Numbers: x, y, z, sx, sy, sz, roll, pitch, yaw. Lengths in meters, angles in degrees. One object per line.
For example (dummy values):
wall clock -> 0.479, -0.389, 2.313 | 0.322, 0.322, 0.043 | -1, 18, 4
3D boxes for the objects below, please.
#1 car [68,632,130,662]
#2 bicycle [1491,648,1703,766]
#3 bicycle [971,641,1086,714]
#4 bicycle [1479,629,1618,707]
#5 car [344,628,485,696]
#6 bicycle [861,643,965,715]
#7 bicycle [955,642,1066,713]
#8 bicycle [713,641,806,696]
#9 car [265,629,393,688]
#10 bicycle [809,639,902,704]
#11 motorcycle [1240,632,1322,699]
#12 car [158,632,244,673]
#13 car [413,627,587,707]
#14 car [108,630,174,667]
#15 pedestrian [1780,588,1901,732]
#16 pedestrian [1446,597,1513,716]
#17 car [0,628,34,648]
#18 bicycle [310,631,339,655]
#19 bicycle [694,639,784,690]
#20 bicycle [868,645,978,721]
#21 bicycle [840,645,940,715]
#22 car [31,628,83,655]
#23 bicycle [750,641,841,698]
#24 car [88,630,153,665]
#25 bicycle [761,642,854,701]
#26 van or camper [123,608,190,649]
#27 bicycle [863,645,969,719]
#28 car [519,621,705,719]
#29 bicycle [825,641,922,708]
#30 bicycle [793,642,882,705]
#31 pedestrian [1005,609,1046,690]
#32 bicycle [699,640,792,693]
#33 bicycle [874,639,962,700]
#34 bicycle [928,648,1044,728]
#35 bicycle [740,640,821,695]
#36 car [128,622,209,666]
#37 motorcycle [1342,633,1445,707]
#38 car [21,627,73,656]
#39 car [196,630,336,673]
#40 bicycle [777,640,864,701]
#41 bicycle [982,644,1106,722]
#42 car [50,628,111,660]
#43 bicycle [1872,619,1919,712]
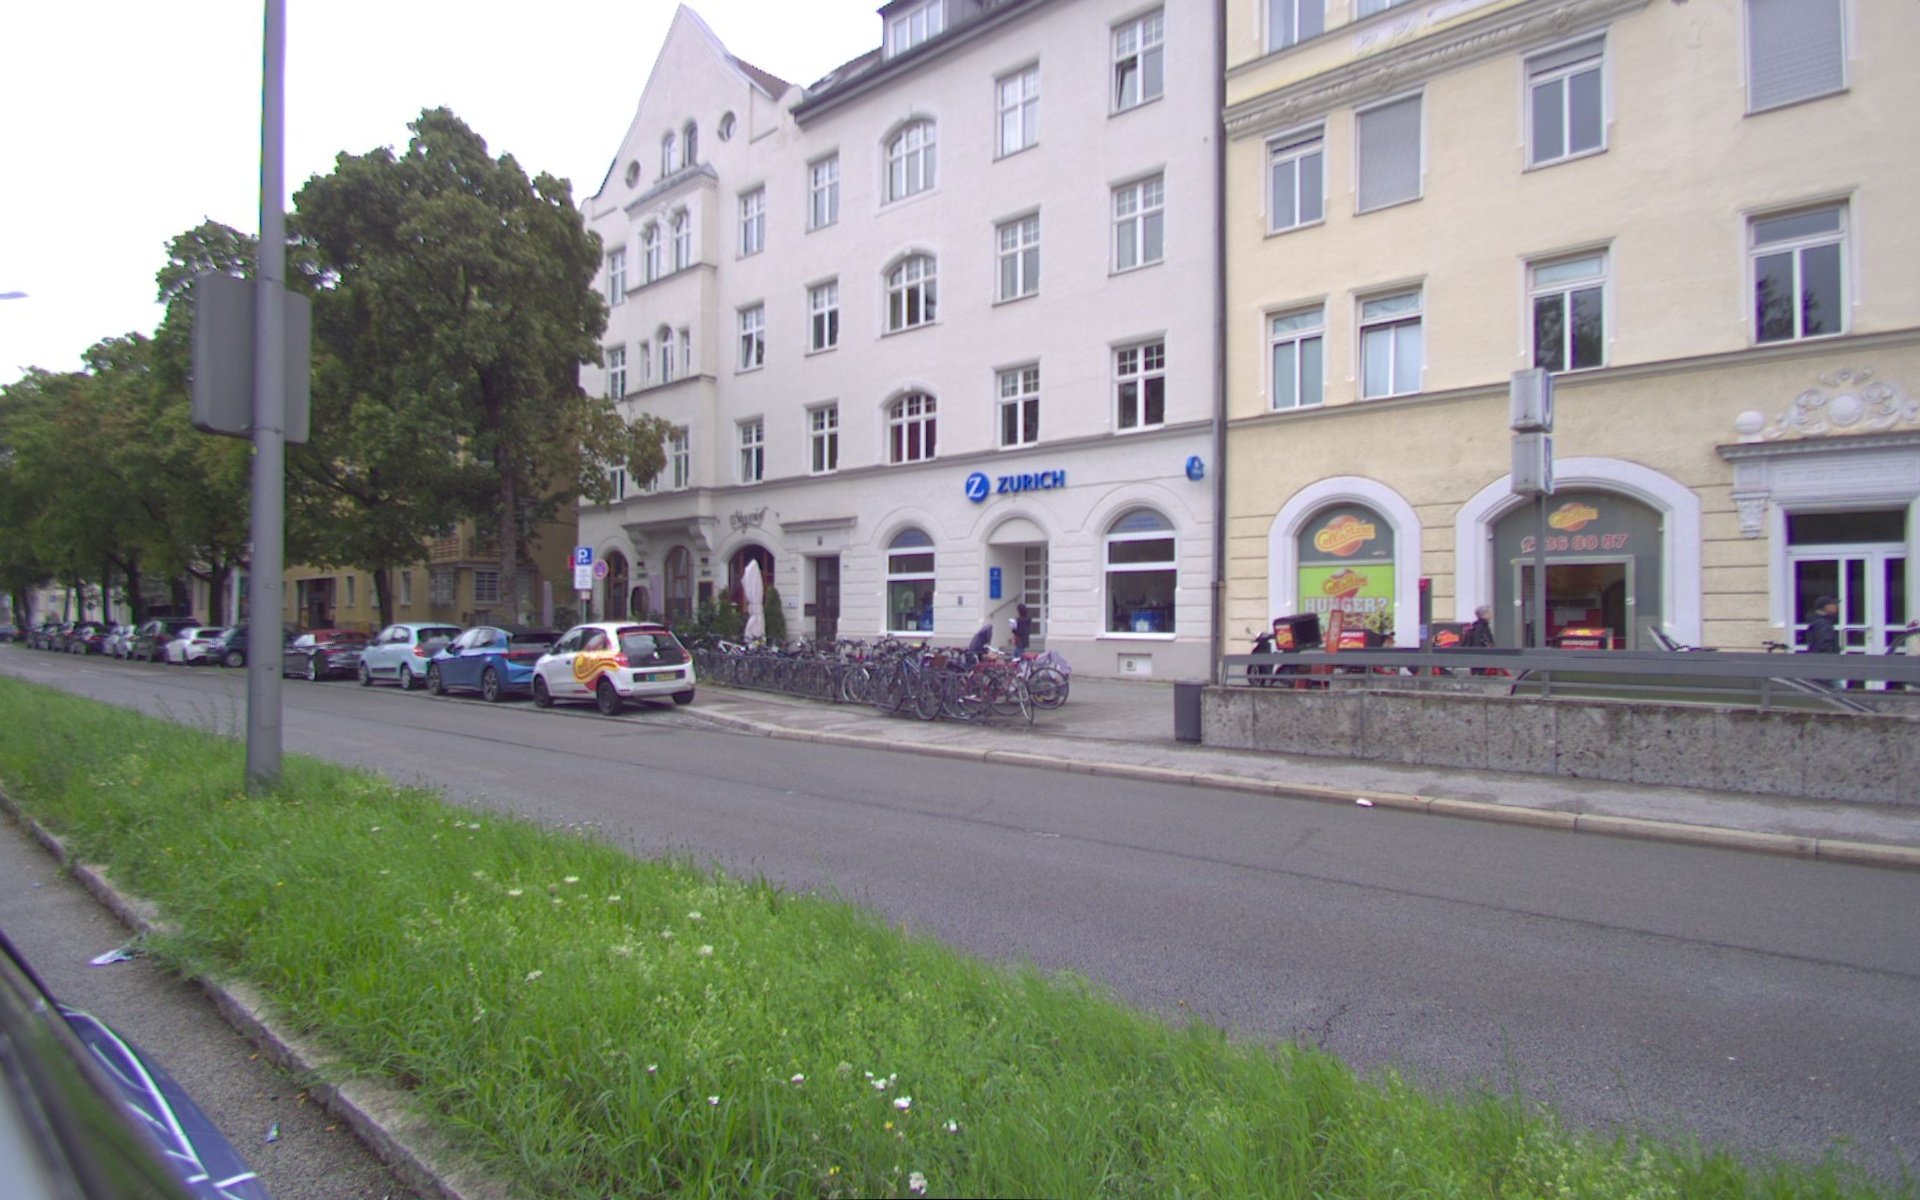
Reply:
car -> -43.071, 2.306, 50.599 | 4.361, 1.416, 1.709 | -1, -2, 41
bicycle -> 6.526, 1.065, 10.456 | 1.808, 1.124, 0.392 | -1, -2, 33
bicycle -> 1.087, 1.225, 16.140 | 1.799, 1.124, 0.394 | -1, -2, 18
bicycle -> 7.893, 0.887, 13.603 | 1.544, 0.988, 0.468 | -2, -2, 41
car -> -13.484, 1.457, 24.928 | 3.958, 1.518, 1.792 | -1, -2, 41
bicycle -> -0.761, 1.270, 16.392 | 1.667, 1.124, 0.365 | -1, -2, 18
bicycle -> 0.830, 1.259, 16.694 | 1.799, 1.124, 0.394 | -1, -2, 18
bicycle -> -4.253, 1.449, 21.491 | 1.860, 1.124, 0.548 | -1, -2, 10
car -> -17.824, 1.593, 28.519 | 4.643, 1.518, 1.792 | -1, -2, 41
bicycle -> -1.865, 1.265, 18.077 | 1.667, 1.124, 0.328 | -1, -2, 18
motorcycle -> 5.891, 1.175, 18.696 | 0.600, 1.139, 1.991 | 0, -1, -9
car -> -28.514, 1.922, 37.962 | 4.401, 1.413, 1.708 | -1, -2, 41
car -> -9.908, 1.350, 21.674 | 4.289, 1.518, 1.792 | -1, -2, 41
car -> -36.203, 2.114, 44.720 | 3.007, 1.569, 1.710 | -1, -2, 39
pedestrian -> 10.825, 0.724, 12.475 | 0.940, 1.710, 0.588 | -1, -2, 23
pedestrian -> 7.718, 0.822, 15.047 | 0.769, 1.710, 0.537 | -1, -2, 39
car -> -71.448, 2.828, 74.837 | 3.931, 1.386, 1.867 | -1, -2, -18
bicycle -> -33.195, 2.214, 52.871 | 1.929, 1.231, 0.762 | -1, -2, 41
bicycle -> -4.952, 1.435, 22.672 | 1.944, 1.124, 0.457 | -1, -2, 10
bicycle -> -0.570, 1.259, 15.496 | 1.667, 1.124, 0.366 | -1, -2, 18
bicycle -> -1.184, 1.328, 16.979 | 1.667, 1.124, 0.328 | -1, -2, 18
car -> -52.177, 2.357, 58.450 | 4.490, 1.465, 1.674 | -1, -2, 41
bicycle -> -3.317, 1.381, 20.326 | 1.859, 1.124, 0.328 | -1, -2, 18
car -> -39.259, 2.181, 47.324 | 4.055, 1.573, 1.709 | -1, -2, 41
bicycle -> -2.997, 1.379, 19.807 | 1.859, 1.124, 0.328 | -1, -2, 18
van or camper -> -54.082, 1.898, 68.032 | 6.847, 2.599, 2.321 | -2, -2, 41
bicycle -> -0.704, 1.280, 15.952 | 1.667, 1.124, 0.328 | -1, -2, 18
car -> -6.429, 1.199, 18.525 | 3.790, 1.597, 1.631 | -1, -2, 43
bicycle -> -1.499, 1.272, 17.469 | 1.667, 1.124, 0.380 | -1, -2, 18
bicycle -> -2.270, 1.339, 18.698 | 1.667, 1.124, 0.328 | -1, -2, 18
pedestrian -> 1.361, 1.025, 21.125 | 0.416, 1.644, 0.784 | 1, -2, -43
bicycle -> -4.685, 1.448, 22.128 | 1.966, 1.124, 0.503 | -1, -2, 10
bicycle -> -0.798, 1.306, 19.159 | 1.667, 1.124, 0.328 | -1, -2, 18
bicycle -> 0.371, 1.258, 14.678 | 1.667, 1.124, 0.328 | -1, -2, 18
bicycle -> -3.721, 1.385, 20.937 | 1.664, 1.124, 0.329 | -1, -2, 14
car -> -32.770, 1.790, 41.850 | 4.765, 1.741, 1.791 | -1, -2, 41
motorcycle -> 7.277, 1.150, 17.101 | 0.600, 1.130, 1.991 | 0, -1, -9
car -> -55.743, 2.480, 61.775 | 4.436, 1.700, 1.854 | -1, -2, 41
car -> -25.154, 1.871, 36.796 | 1.730, 1.475, 3.850 | -1, -4, 39
bicycle -> -2.668, 1.335, 19.265 | 1.667, 1.124, 0.328 | -1, -2, 18
bicycle -> 1.247, 1.228, 15.139 | 1.799, 1.124, 0.394 | -1, -2, 18
car -> -47.480, 2.329, 54.599 | 4.768, 1.658, 1.859 | -1, -2, 41
bicycle -> 10.666, 0.688, 10.653 | 1.544, 0.988, 0.468 | -2, -2, 41
